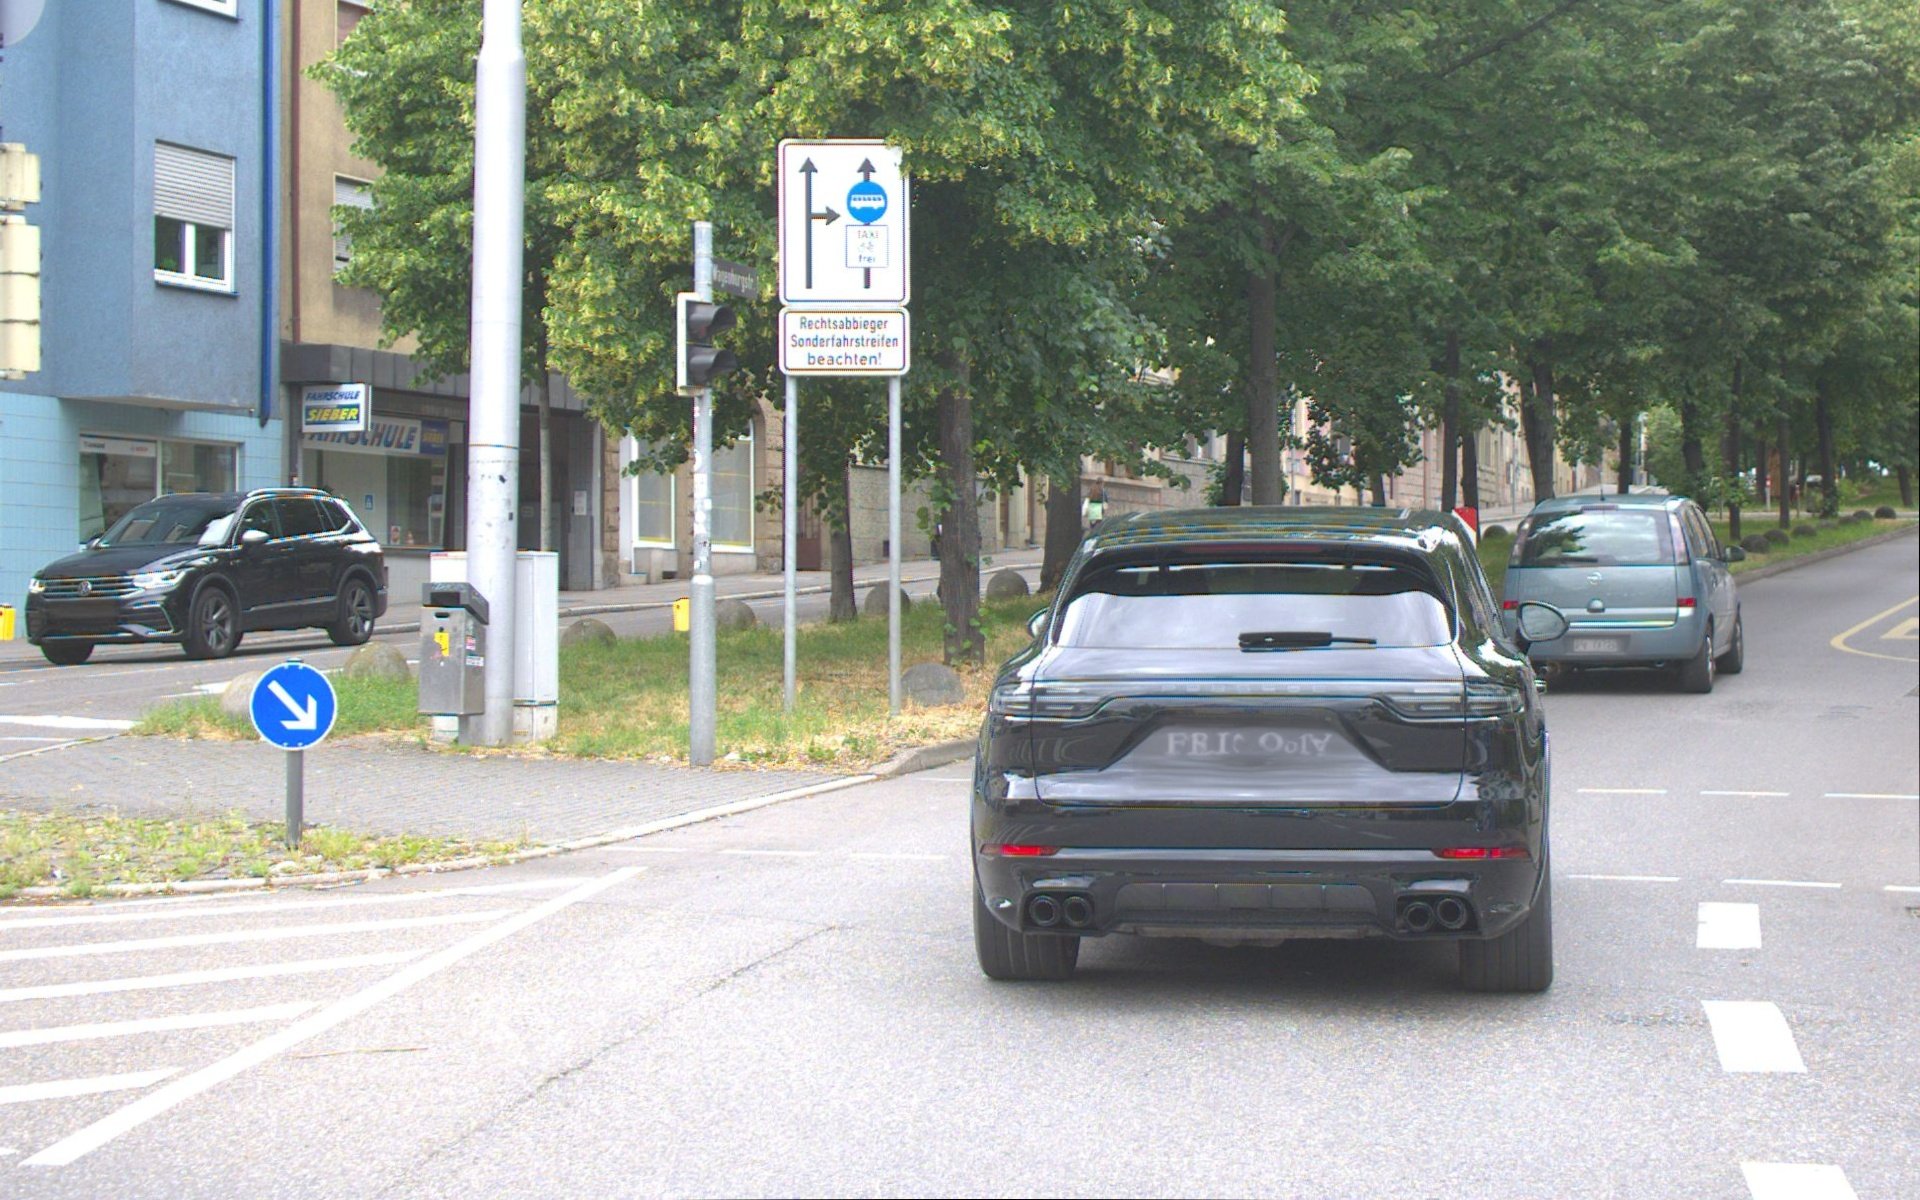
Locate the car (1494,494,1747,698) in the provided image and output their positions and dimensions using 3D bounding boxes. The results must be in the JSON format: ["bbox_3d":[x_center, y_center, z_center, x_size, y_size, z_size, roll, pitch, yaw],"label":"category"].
[{"bbox_3d":[5.597,-0.044,28.834,1.650,1.550,3.580,2,1,17],"label":"car"}]

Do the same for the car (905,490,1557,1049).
[{"bbox_3d":[1.225,0.463,13.130,2.032,1.717,4.498,1,2,10],"label":"car"}]

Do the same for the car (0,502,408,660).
[{"bbox_3d":[-7.581,-0.247,34.519,1.872,1.411,4.694,1,3,22],"label":"car"}]

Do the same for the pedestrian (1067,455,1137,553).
[{"bbox_3d":[2.967,-2.005,71.758,1.193,2.006,0.988,1,2,18],"label":"pedestrian"}]
